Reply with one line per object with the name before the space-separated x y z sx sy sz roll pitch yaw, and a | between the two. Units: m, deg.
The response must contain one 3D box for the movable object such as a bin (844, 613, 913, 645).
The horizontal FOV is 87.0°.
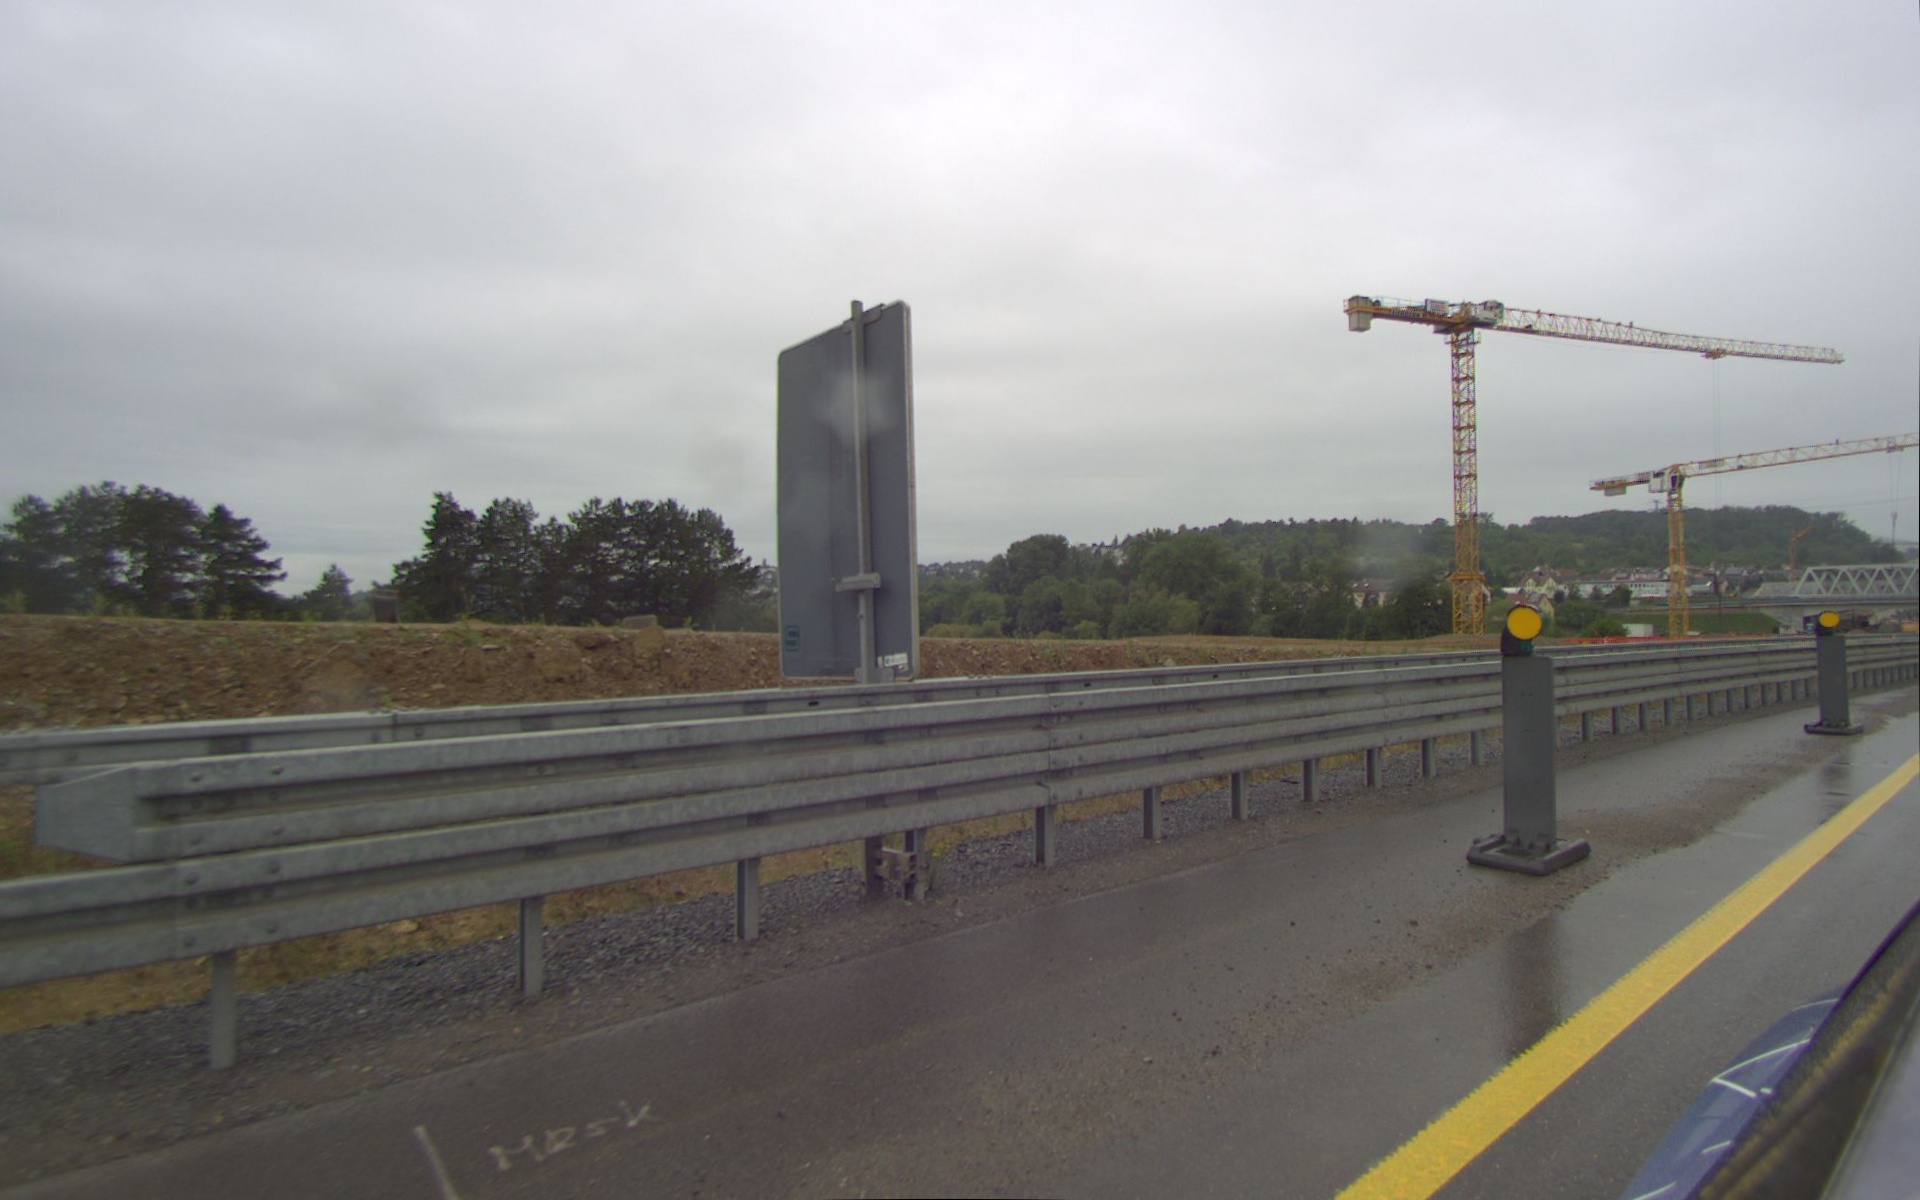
movable object such as a bin | -3.481 1.219 43.389 2.662 1.318 1.388 0 0 -45
